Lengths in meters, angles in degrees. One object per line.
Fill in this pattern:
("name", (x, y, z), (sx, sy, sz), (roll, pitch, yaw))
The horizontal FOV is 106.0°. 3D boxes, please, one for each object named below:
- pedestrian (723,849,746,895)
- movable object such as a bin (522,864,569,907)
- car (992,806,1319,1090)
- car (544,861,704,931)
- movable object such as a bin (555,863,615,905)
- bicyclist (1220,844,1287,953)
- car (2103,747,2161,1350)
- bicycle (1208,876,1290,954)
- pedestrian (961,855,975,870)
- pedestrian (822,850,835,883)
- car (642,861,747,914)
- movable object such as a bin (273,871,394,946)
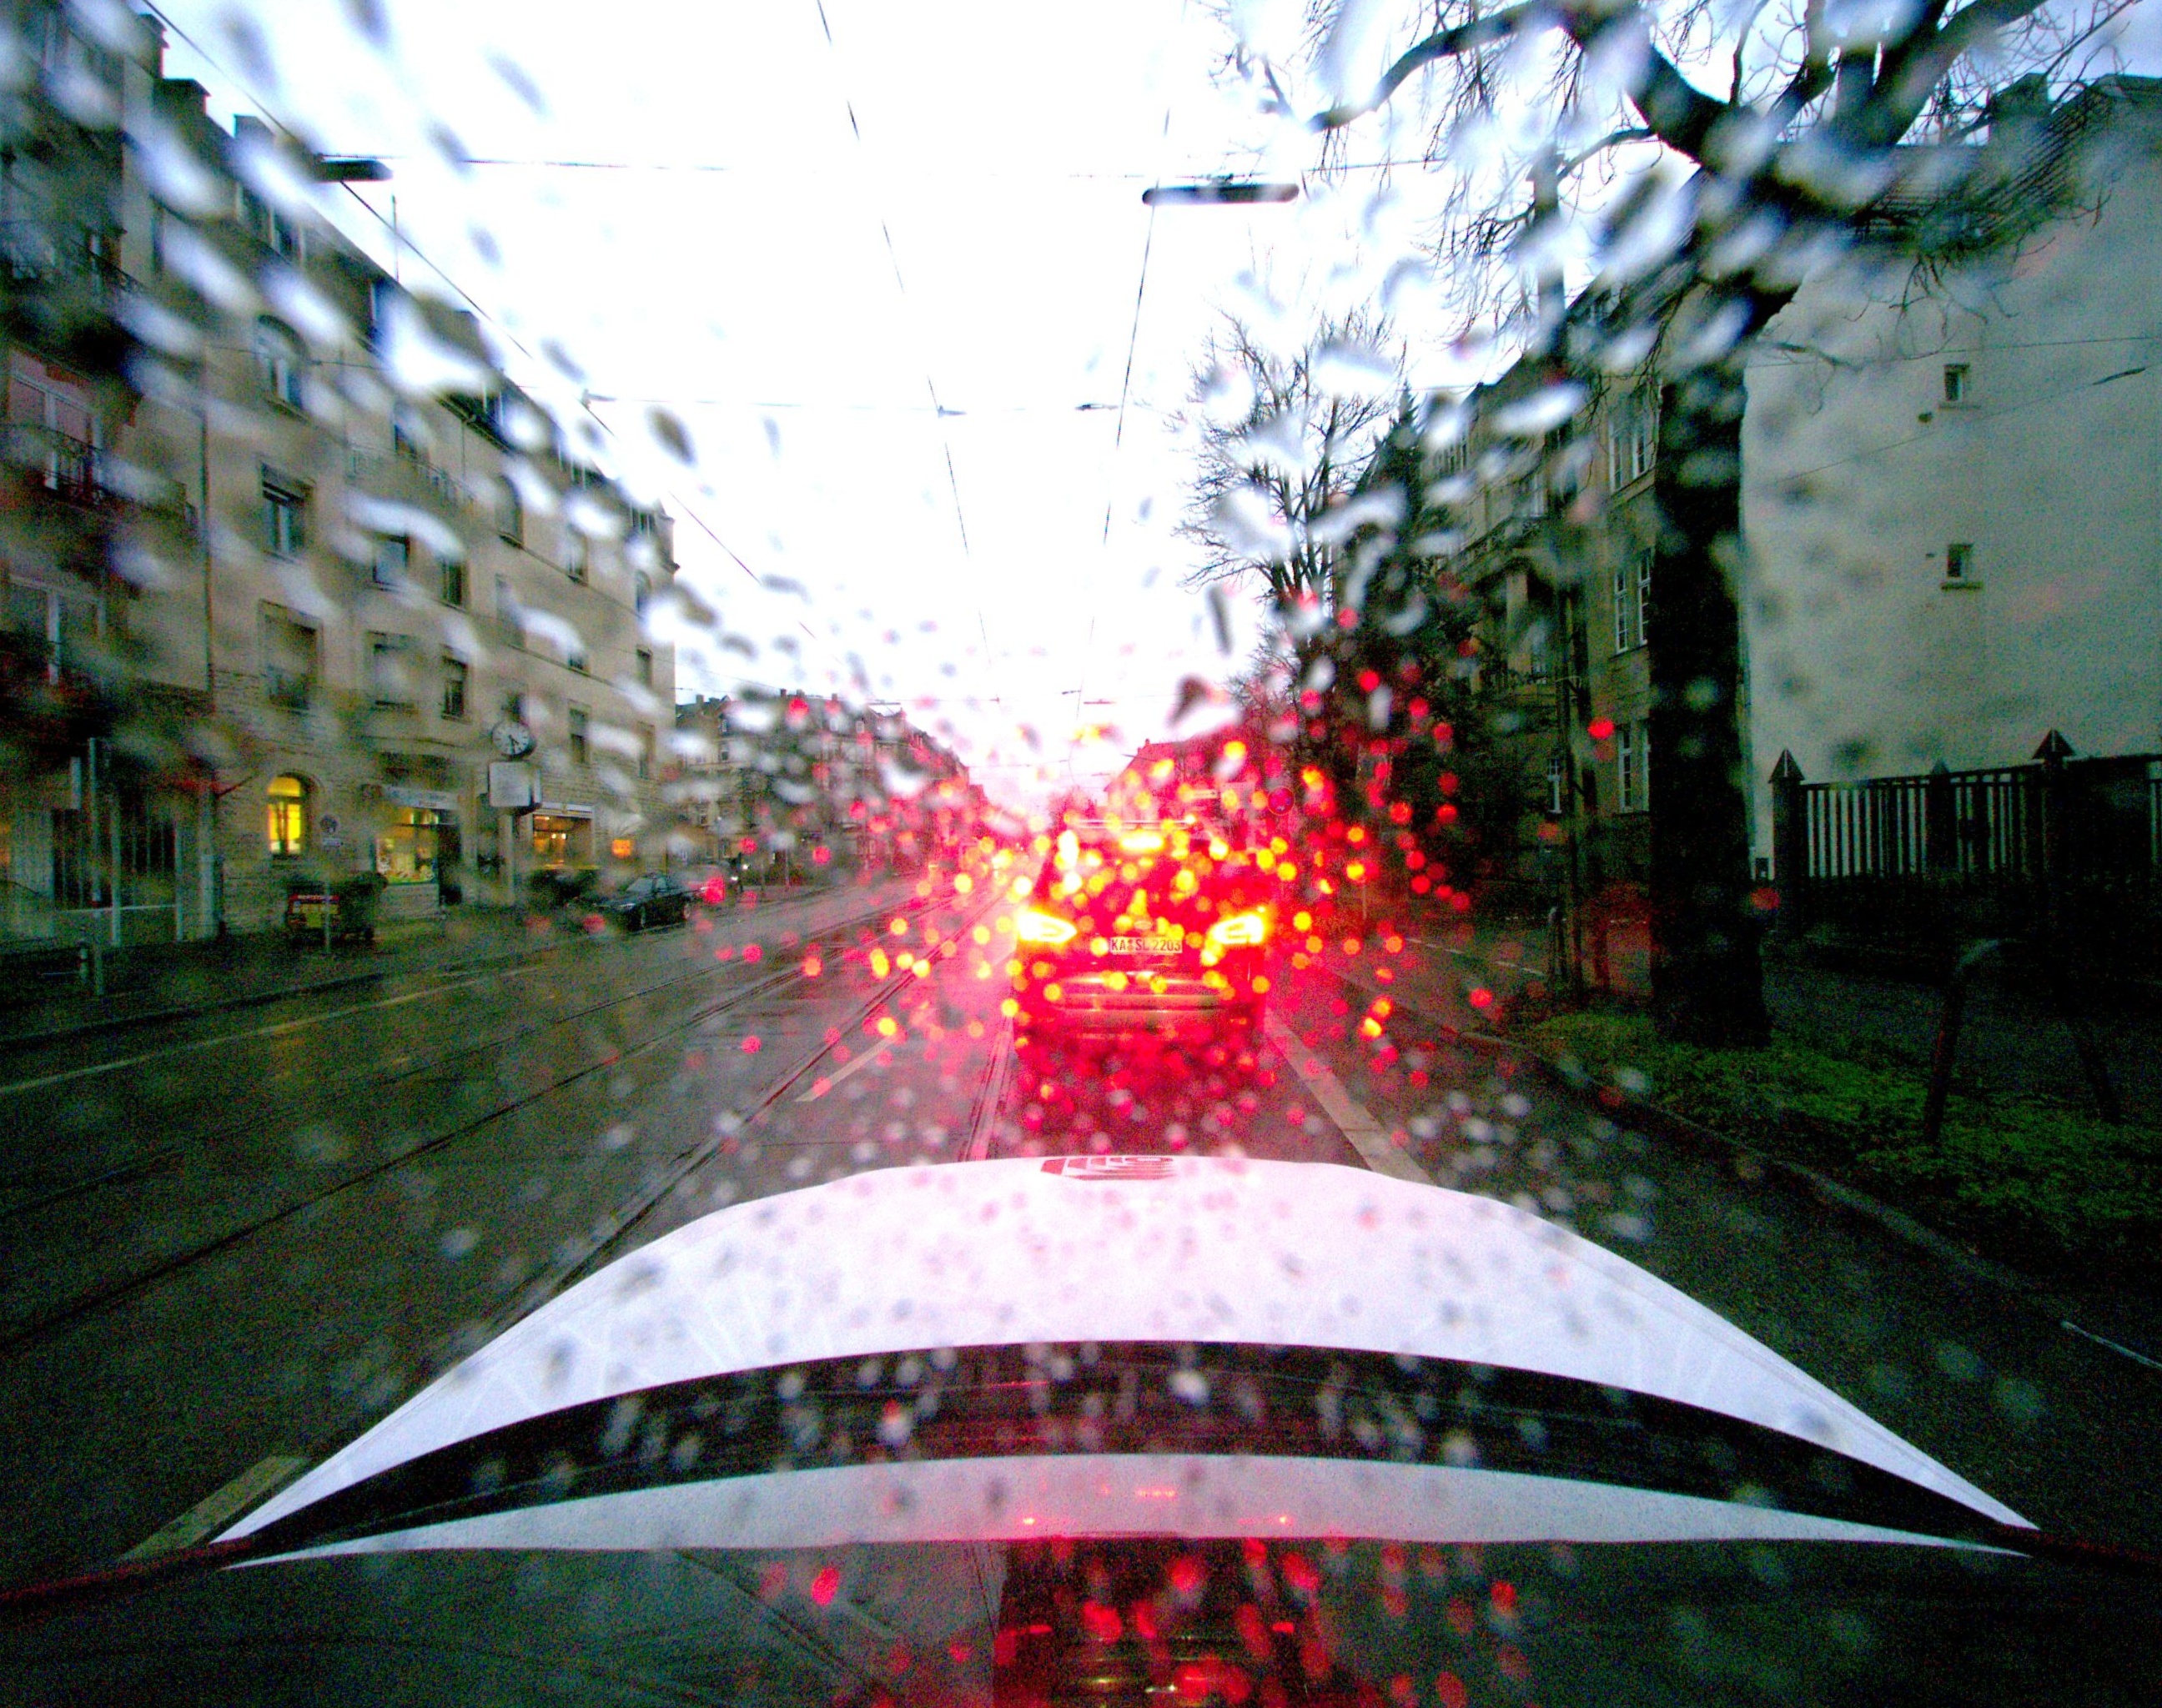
("pedestrian", (-15.297, 0.779, 35.949), (0.748, 2.014, 0.652), (-1, -1, 34))
("movable object such as a bin", (-17.834, 1.039, 27.148), (0.896, 1.377, 1.006), (-1, 0, -2))
("car", (0.501, 0.601, 7.572), (2.097, 1.816, 4.660), (0, 0, 0))
("car", (-12.468, 1.087, 22.641), (1.982, 1.645, 4.623), (3, -1, -4))
("movable object such as a bin", (-17.304, 1.028, 28.458), (1.290, 1.367, 1.251), (-1, 0, -2))
("bicyclist", (2.760, 0.688, 13.150), (0.716, 1.662, 1.054), (2, 0, -6))
("car", (4.428, 0.580, 0.205), (2.025, 1.875, 4.960), (-2, 0, -2))
("bicycle", (2.723, 0.963, 13.418), (0.716, 1.112, 1.937), (3, 0, -6))
("pedestrian", (-9.505, 0.712, 68.509), (1.044, 1.200, 0.884), (-1, -1, -1))
("pedestrian", (-15.687, 0.749, 50.582), (0.707, 2.013, 0.656), (-1, 0, -21))
("car", (-13.334, 1.114, 28.379), (2.035, 1.551, 4.022), (2, 0, -7))
("movable object such as a bin", (-15.096, 1.074, 16.503), (1.264, 1.420, 1.249), (-1, 0, -2))
